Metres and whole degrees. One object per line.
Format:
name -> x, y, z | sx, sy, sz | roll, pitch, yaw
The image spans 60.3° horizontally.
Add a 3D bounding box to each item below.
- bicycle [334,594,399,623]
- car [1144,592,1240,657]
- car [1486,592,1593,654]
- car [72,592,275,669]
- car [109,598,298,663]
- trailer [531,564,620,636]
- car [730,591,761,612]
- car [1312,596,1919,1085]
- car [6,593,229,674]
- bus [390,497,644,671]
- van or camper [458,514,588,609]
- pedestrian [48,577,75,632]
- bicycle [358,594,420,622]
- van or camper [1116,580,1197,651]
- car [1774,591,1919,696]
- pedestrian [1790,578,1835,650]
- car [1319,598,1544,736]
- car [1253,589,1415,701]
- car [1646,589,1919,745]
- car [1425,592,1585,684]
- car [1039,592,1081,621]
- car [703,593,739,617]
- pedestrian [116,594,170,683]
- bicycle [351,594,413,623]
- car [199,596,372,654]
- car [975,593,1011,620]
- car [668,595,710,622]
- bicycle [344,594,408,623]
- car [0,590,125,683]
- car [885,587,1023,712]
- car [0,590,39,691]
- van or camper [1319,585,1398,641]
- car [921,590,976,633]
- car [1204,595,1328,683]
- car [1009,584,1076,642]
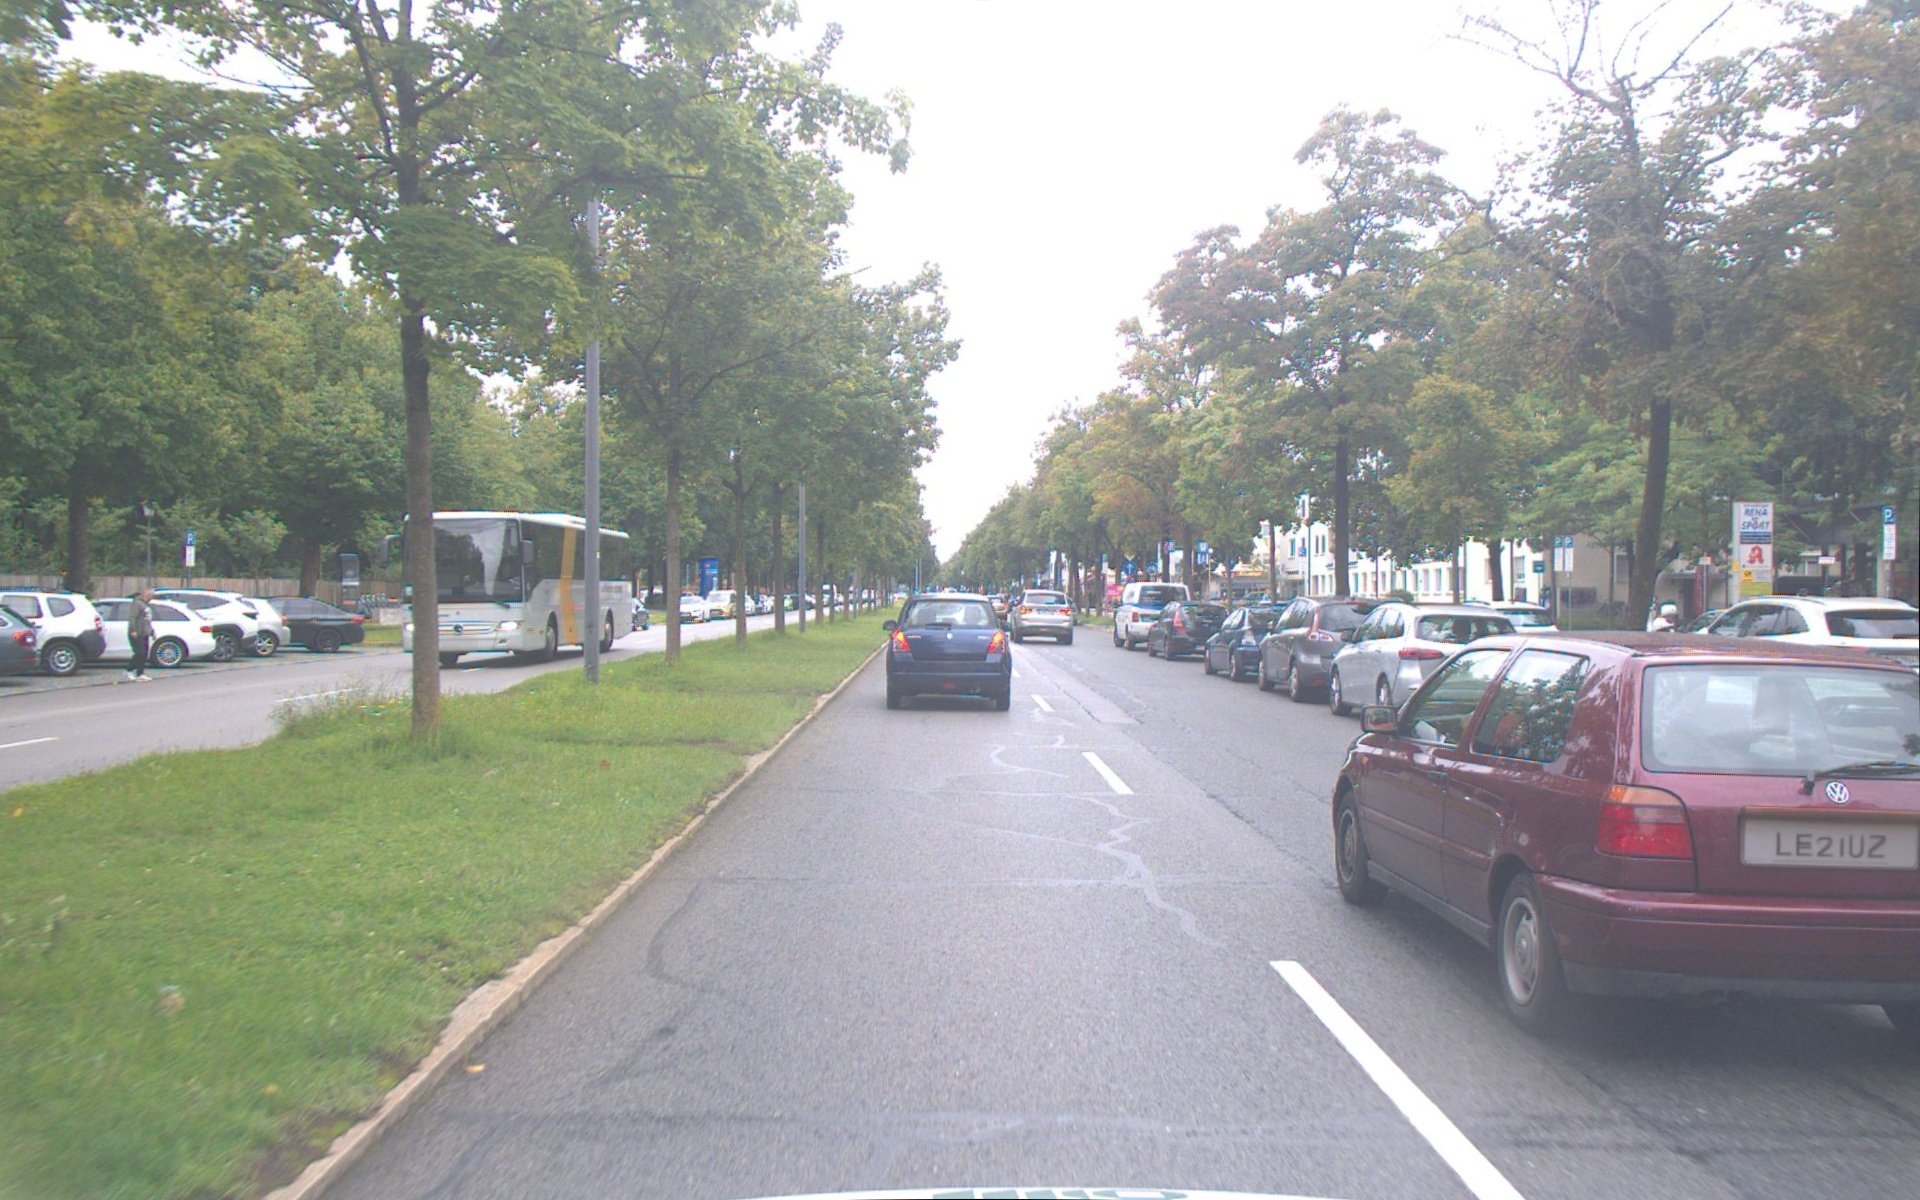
bicycle -> -24.928, 0.358, 69.511 | 2.447, 1.164, 0.723 | 1, 0, 1
car -> 5.902, 0.592, 42.506 | 1.650, 1.581, 4.303 | 0, 0, -3
car -> 15.928, 0.597, 45.665 | 1.649, 1.613, 4.028 | 0, 0, 1
car -> -18.193, 0.670, 38.305 | 4.058, 1.681, 1.897 | 0, 0, -34
car -> -18.772, 0.723, 41.097 | 4.058, 1.500, 1.897 | 0, 0, -34
trailer -> -14.438, -0.020, 62.424 | 2.063, 2.585, 5.576 | 0, 0, 0
car -> -15.169, 0.114, 117.140 | 1.813, 1.472, 4.096 | 0, 0, -2
car -> 2.745, 0.733, 7.048 | 1.589, 1.479, 3.949 | 0, 0, -1
car -> -17.950, 0.668, 35.284 | 4.058, 1.612, 1.897 | 0, 0, -34
bus -> -10.084, -0.371, 39.335 | 2.682, 3.436, 12.013 | -1, 0, 0
van or camper -> -14.098, -1.186, 53.883 | 2.262, 2.883, 7.493 | 0, 0, 0
pedestrian -> -27.262, 0.133, 50.184 | 0.671, 1.640, 0.685 | 0, 0, -31
bicycle -> -24.858, 0.340, 71.990 | 2.447, 1.164, 0.654 | 1, 0, 1
van or camper -> 5.772, 0.415, 48.915 | 1.904, 2.009, 4.306 | 0, 0, 0
car -> 16.054, 0.688, 28.630 | 1.650, 1.661, 4.381 | 0, 0, -2
pedestrian -> 20.776, 0.338, 40.311 | 0.732, 1.736, 0.702 | 0, 0, 0
car -> 6.006, 0.778, 21.587 | 1.649, 1.552, 4.456 | 2, 0, 0
car -> 6.004, 0.663, 27.009 | 1.649, 1.654, 4.306 | 1, 0, 0
car -> 10.163, 0.704, 20.089 | 1.650, 1.661, 4.779 | 0, 0, -1
car -> 10.108, 0.658, 30.972 | 1.650, 1.613, 4.027 | 0, 0, -1
car -> 5.263, 0.342, 87.235 | 1.813, 1.472, 4.096 | 0, 0, -2
car -> -15.030, 0.280, 104.340 | 1.813, 1.472, 4.096 | 0, 0, -2
pedestrian -> -15.213, 0.712, 30.814 | 0.711, 1.640, 0.679 | 0, 0, -8
bicycle -> -24.891, 0.372, 71.207 | 2.447, 1.164, 0.600 | 1, 0, 1
car -> -18.134, 0.663, 44.524 | 4.058, 1.500, 1.685 | 1, 0, -34
car -> 1.887, 0.352, 95.303 | 1.813, 1.472, 4.096 | 0, 0, -2
car -> -15.266, 0.470, 93.445 | 1.813, 1.472, 4.096 | 0, 0, -2
bicycle -> -24.878, 0.351, 70.511 | 2.447, 1.164, 0.707 | 1, 0, 1
car -> -18.339, 0.673, 31.643 | 4.058, 1.725, 1.897 | 0, 0, -34
car -> -0.149, 0.618, 23.072 | 1.753, 1.583, 3.998 | 0, 0, -2
car -> -18.198, 0.705, 28.390 | 4.058, 1.725, 1.897 | 0, 0, -34
van or camper -> 14.702, 0.444, 61.245 | 1.904, 2.009, 4.306 | 0, 0, 0
car -> -0.442, 0.378, 58.542 | 1.813, 1.472, 4.096 | 0, 0, -2
car -> 5.871, 0.695, 32.170 | 1.649, 1.581, 4.306 | 0, 0, 0
car -> 2.622, 0.394, 53.196 | 1.813, 1.773, 4.096 | 0, 0, -2
